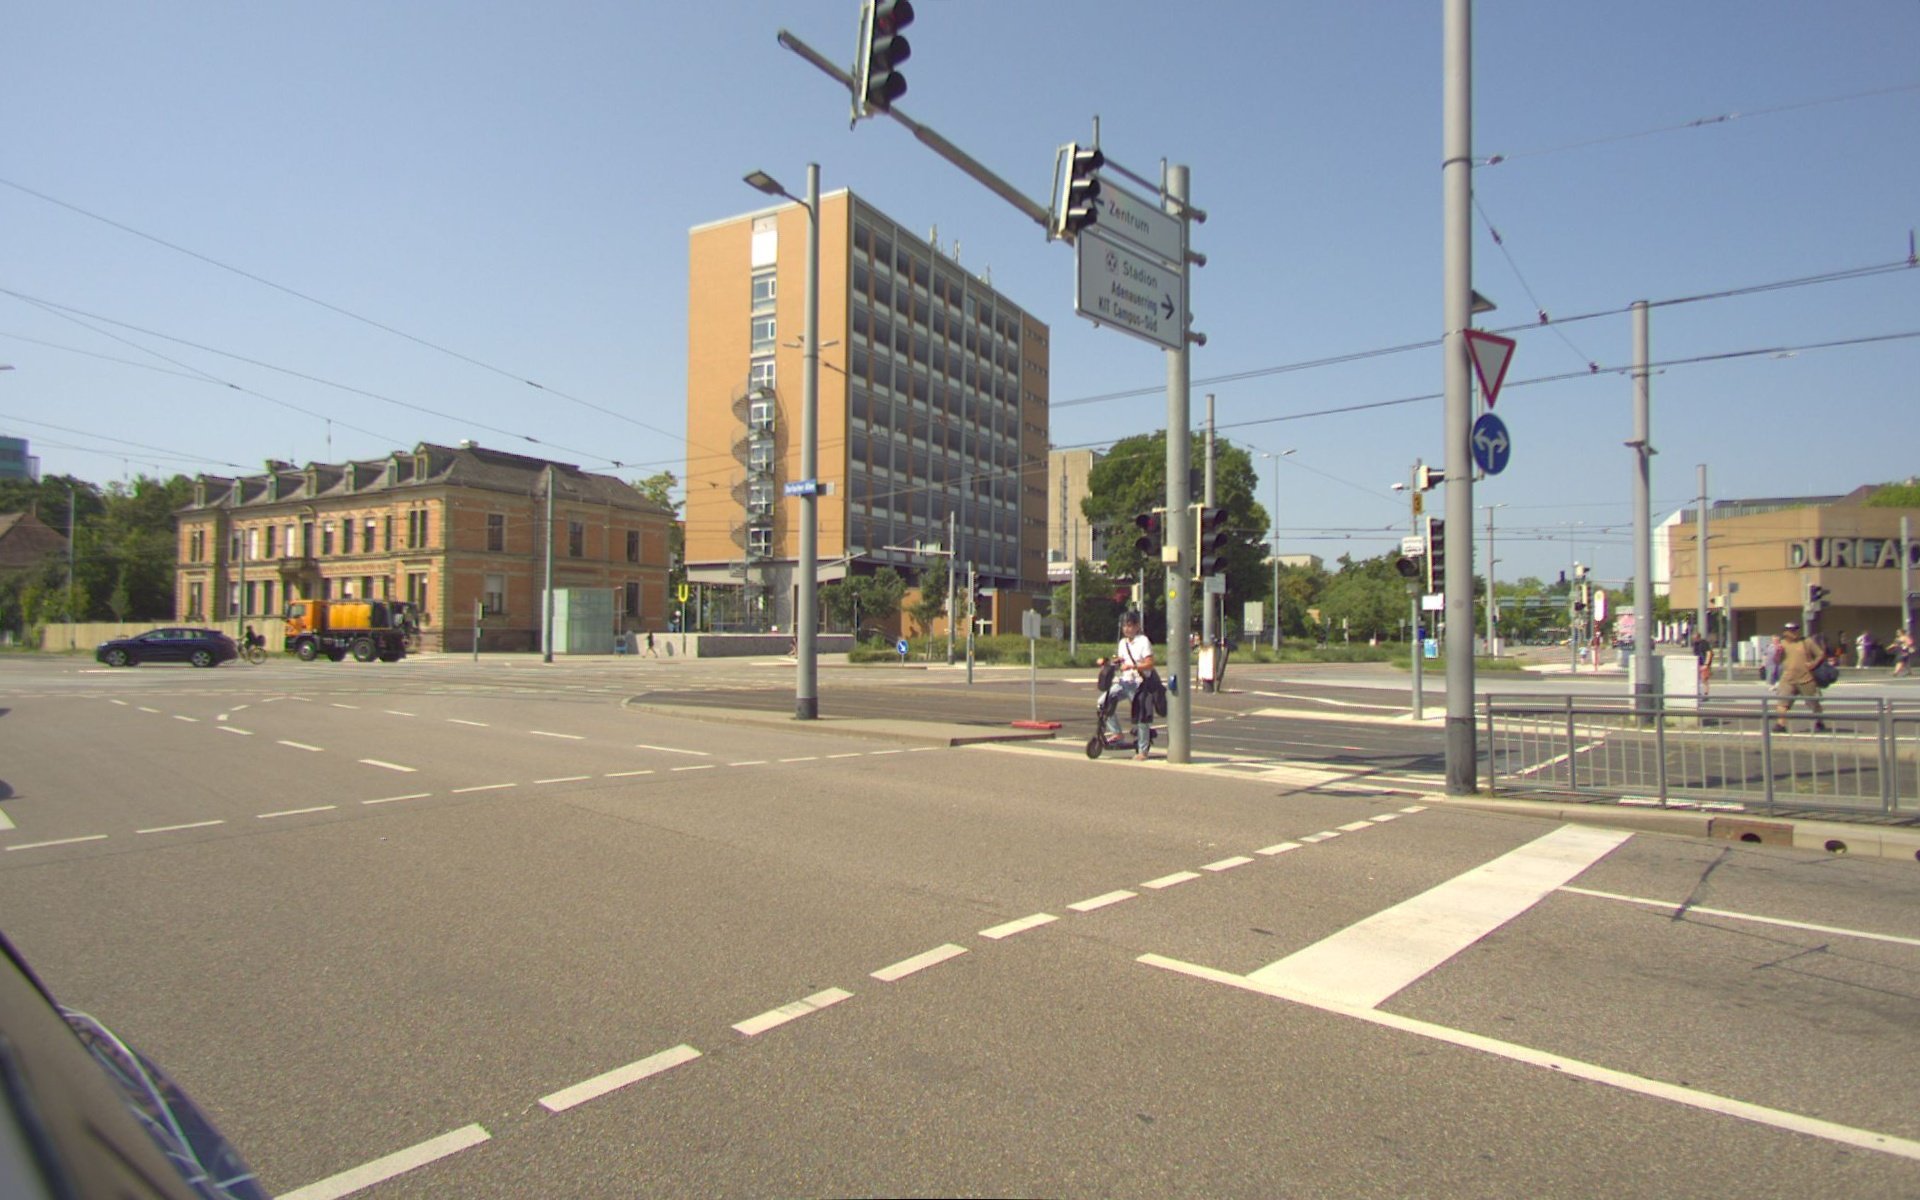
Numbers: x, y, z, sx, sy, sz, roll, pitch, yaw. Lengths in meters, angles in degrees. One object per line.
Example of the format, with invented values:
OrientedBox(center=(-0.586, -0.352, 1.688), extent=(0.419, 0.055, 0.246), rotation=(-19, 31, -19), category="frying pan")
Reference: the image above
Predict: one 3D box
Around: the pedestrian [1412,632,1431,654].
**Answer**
OrientedBox(center=(37.919, 3.511, 83.180), extent=(1.098, 1.799, 0.971), rotation=(2, -3, -32), category="pedestrian")

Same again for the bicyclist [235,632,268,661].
OrientedBox(center=(-31.799, 2.072, 45.438), extent=(1.087, 1.276, 0.860), rotation=(1, -3, -27), category="bicyclist")

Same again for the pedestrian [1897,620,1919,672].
OrientedBox(center=(33.499, 1.627, 35.531), extent=(0.944, 1.793, 0.786), rotation=(2, -2, -42), category="pedestrian")

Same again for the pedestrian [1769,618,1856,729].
OrientedBox(center=(13.151, 1.128, 15.640), extent=(0.796, 1.672, 0.569), rotation=(-3, -4, 24), category="pedestrian")

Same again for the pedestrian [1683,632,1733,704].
OrientedBox(center=(19.291, 1.722, 26.101), extent=(0.959, 1.793, 0.774), rotation=(0, -2, 45), category="pedestrian")

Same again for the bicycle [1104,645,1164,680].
OrientedBox(center=(5.559, 1.981, 32.436), extent=(0.605, 1.077, 1.914), rotation=(2, -3, -44), category="bicycle")

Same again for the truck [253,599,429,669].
OrientedBox(center=(-31.086, 1.758, 51.005), extent=(7.095, 3.254, 3.039), rotation=(-1, -3, 3), category="truck")

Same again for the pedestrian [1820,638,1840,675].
OrientedBox(center=(39.108, 2.526, 45.494), extent=(0.571, 1.658, 0.504), rotation=(-5, -5, 44), category="pedestrian")

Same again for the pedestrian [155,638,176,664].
OrientedBox(center=(-42.173, 2.679, 53.715), extent=(0.803, 1.362, 0.720), rotation=(2, -3, -40), category="pedestrian")

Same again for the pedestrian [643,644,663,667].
OrientedBox(center=(-18.398, 3.323, 60.674), extent=(0.787, 1.405, 0.836), rotation=(-2, -3, 44), category="pedestrian")

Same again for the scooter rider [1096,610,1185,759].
OrientedBox(center=(2.147, 0.976, 12.045), extent=(0.778, 1.686, 0.764), rotation=(-2, -3, 38), category="scooter rider")

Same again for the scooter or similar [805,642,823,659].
OrientedBox(center=(-9.825, 3.382, 67.992), extent=(1.126, 1.166, 0.444), rotation=(2, -3, -34), category="scooter or similar")

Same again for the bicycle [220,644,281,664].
OrientedBox(center=(-31.810, 2.413, 45.427), extent=(2.132, 0.906, 0.644), rotation=(1, -3, -25), category="bicycle")

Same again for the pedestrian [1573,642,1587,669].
OrientedBox(center=(31.859, 2.851, 52.003), extent=(0.455, 1.385, 0.350), rotation=(0, -2, -3), category="pedestrian")

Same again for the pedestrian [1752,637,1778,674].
OrientedBox(center=(37.253, 2.565, 46.840), extent=(0.579, 1.689, 0.578), rotation=(-1, -3, -2), category="pedestrian")

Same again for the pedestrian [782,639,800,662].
OrientedBox(center=(-10.457, 3.150, 62.669), extent=(0.787, 1.405, 0.836), rotation=(-2, -3, 44), category="pedestrian")

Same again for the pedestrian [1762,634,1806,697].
OrientedBox(center=(24.509, 1.930, 30.112), extent=(0.959, 1.793, 0.774), rotation=(0, -2, 45), category="pedestrian")

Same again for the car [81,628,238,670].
OrientedBox(center=(-32.398, 1.976, 41.149), extent=(4.618, 1.653, 2.006), rotation=(1, -3, -26), category="car")

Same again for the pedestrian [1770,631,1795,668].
OrientedBox(center=(38.054, 2.289, 46.834), extent=(0.579, 1.689, 0.578), rotation=(-1, -3, -2), category="pedestrian")

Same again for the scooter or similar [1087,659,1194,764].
OrientedBox(center=(2.170, 1.294, 12.070), extent=(0.709, 1.157, 1.324), rotation=(-2, -4, 40), category="scooter or similar")

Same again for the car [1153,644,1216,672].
OrientedBox(center=(15.755, 4.066, 70.931), extent=(3.931, 1.808, 2.006), rotation=(1, -4, -29), category="car")

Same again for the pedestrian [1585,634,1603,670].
OrientedBox(center=(32.482, 2.653, 51.854), extent=(0.552, 1.830, 0.561), rotation=(0, -2, -3), category="pedestrian")

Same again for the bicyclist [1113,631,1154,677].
OrientedBox(center=(5.559, 1.721, 32.452), extent=(0.864, 1.470, 0.981), rotation=(2, -3, -44), category="bicyclist")
